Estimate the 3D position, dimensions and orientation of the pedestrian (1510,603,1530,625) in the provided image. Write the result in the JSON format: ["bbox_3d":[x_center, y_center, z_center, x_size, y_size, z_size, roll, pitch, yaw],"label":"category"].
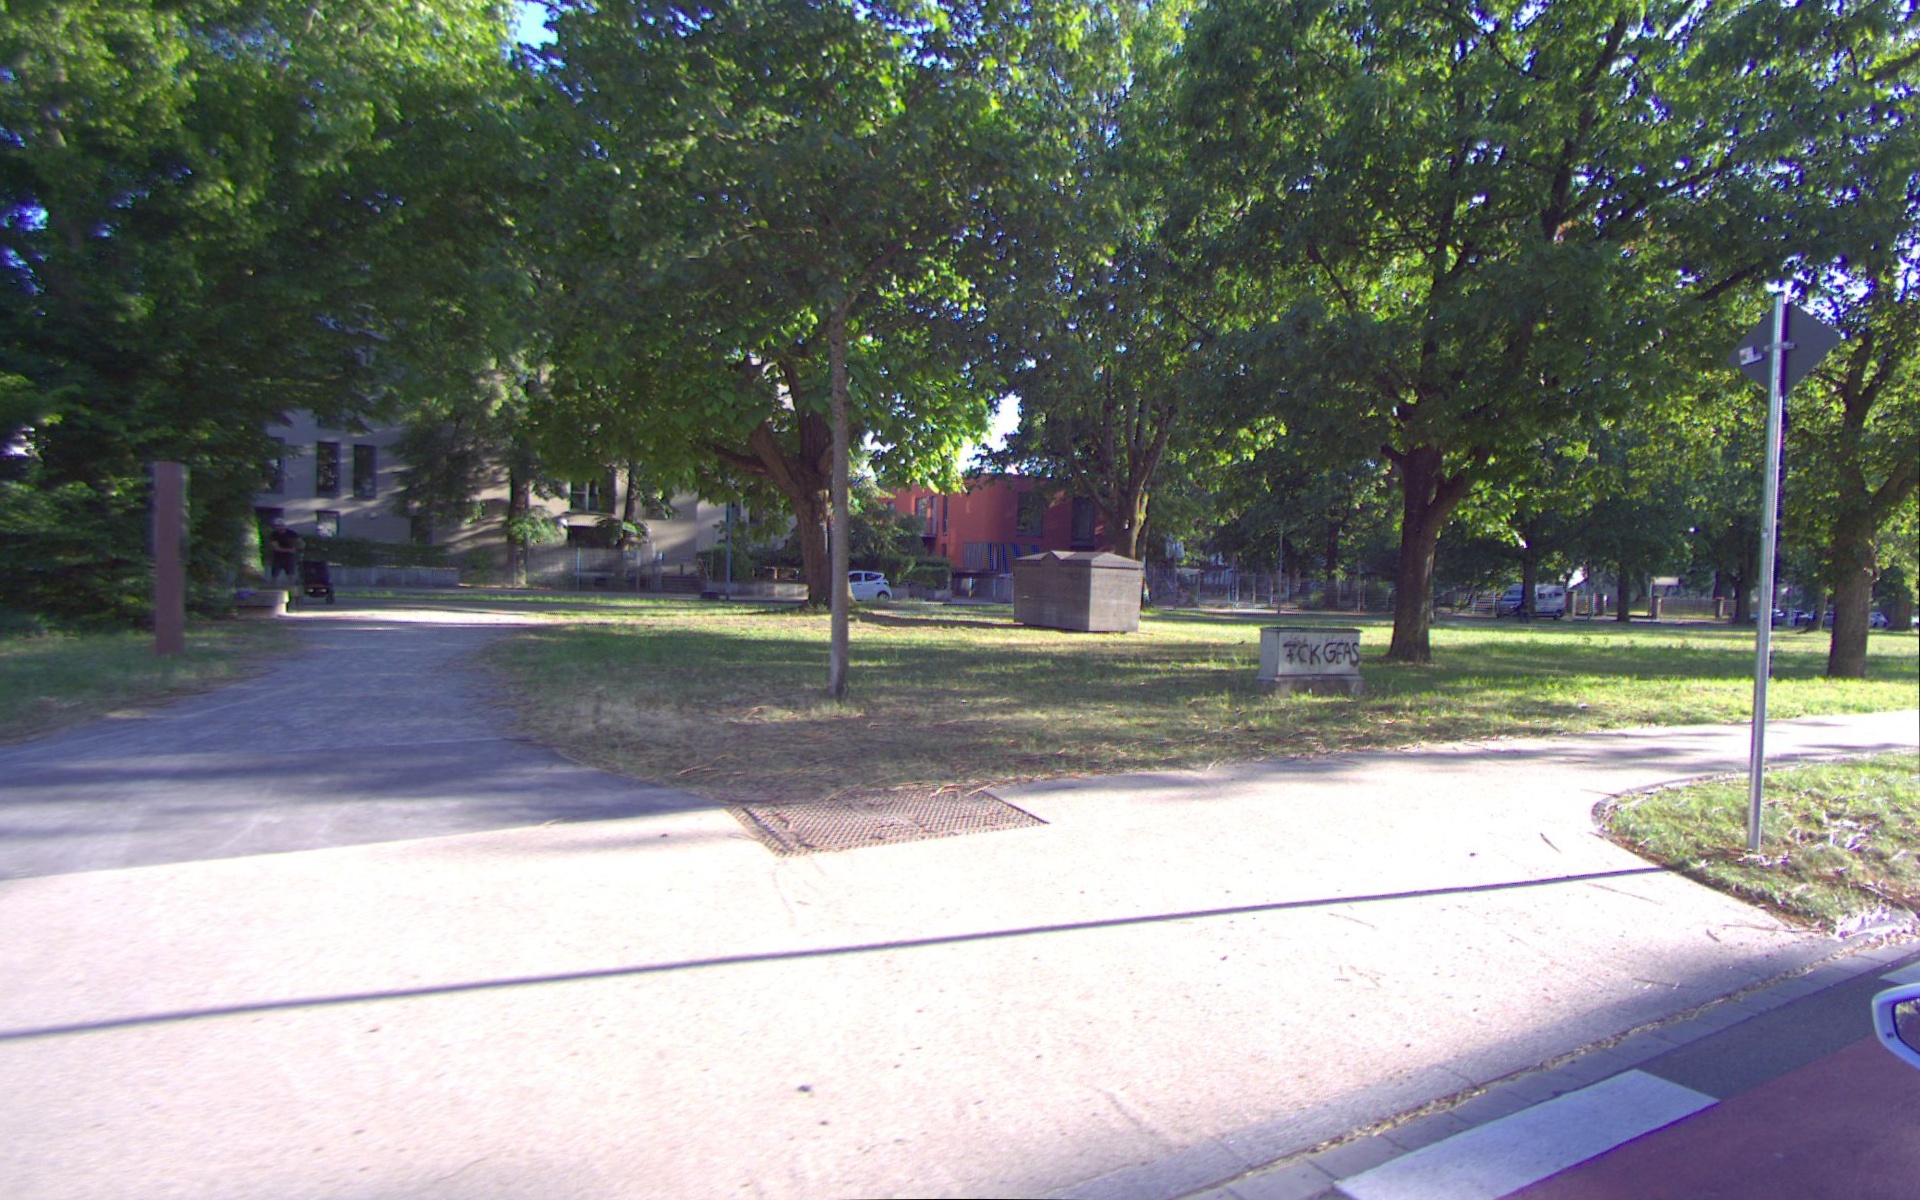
[{"bbox_3d":[26.296,0.668,47.169,0.601,1.000,0.547,2,1,-19],"label":"pedestrian"}]

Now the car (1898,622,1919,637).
[{"bbox_3d":[103.521,3.235,108.486,4.065,1.528,1.984,2,1,-29],"label":"car"}]

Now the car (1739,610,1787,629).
[{"bbox_3d":[71.685,1.739,89.681,3.952,1.528,1.985,2,1,-29],"label":"car"}]

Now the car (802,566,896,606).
[{"bbox_3d":[-4.987,-0.628,45.145,3.693,1.640,1.984,2,2,-30],"label":"car"}]

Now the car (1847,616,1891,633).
[{"bbox_3d":[91.082,2.475,100.634,4.065,1.528,1.984,2,1,-29],"label":"car"}]

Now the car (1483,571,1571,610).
[{"bbox_3d":[40.453,-0.638,71.666,6.247,2.496,2.706,2,1,-31],"label":"car"}]

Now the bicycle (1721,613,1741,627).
[{"bbox_3d":[69.542,1.798,90.650,2.308,1.191,0.653,2,1,-33],"label":"bicycle"}]

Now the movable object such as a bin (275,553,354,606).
[{"bbox_3d":[-13.082,-0.424,20.348,1.312,1.003,0.946,3,1,38],"label":"movable object such as a bin"}]

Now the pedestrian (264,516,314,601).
[{"bbox_3d":[-13.934,-0.864,20.851,0.653,1.718,0.669,4,3,37],"label":"pedestrian"}]
